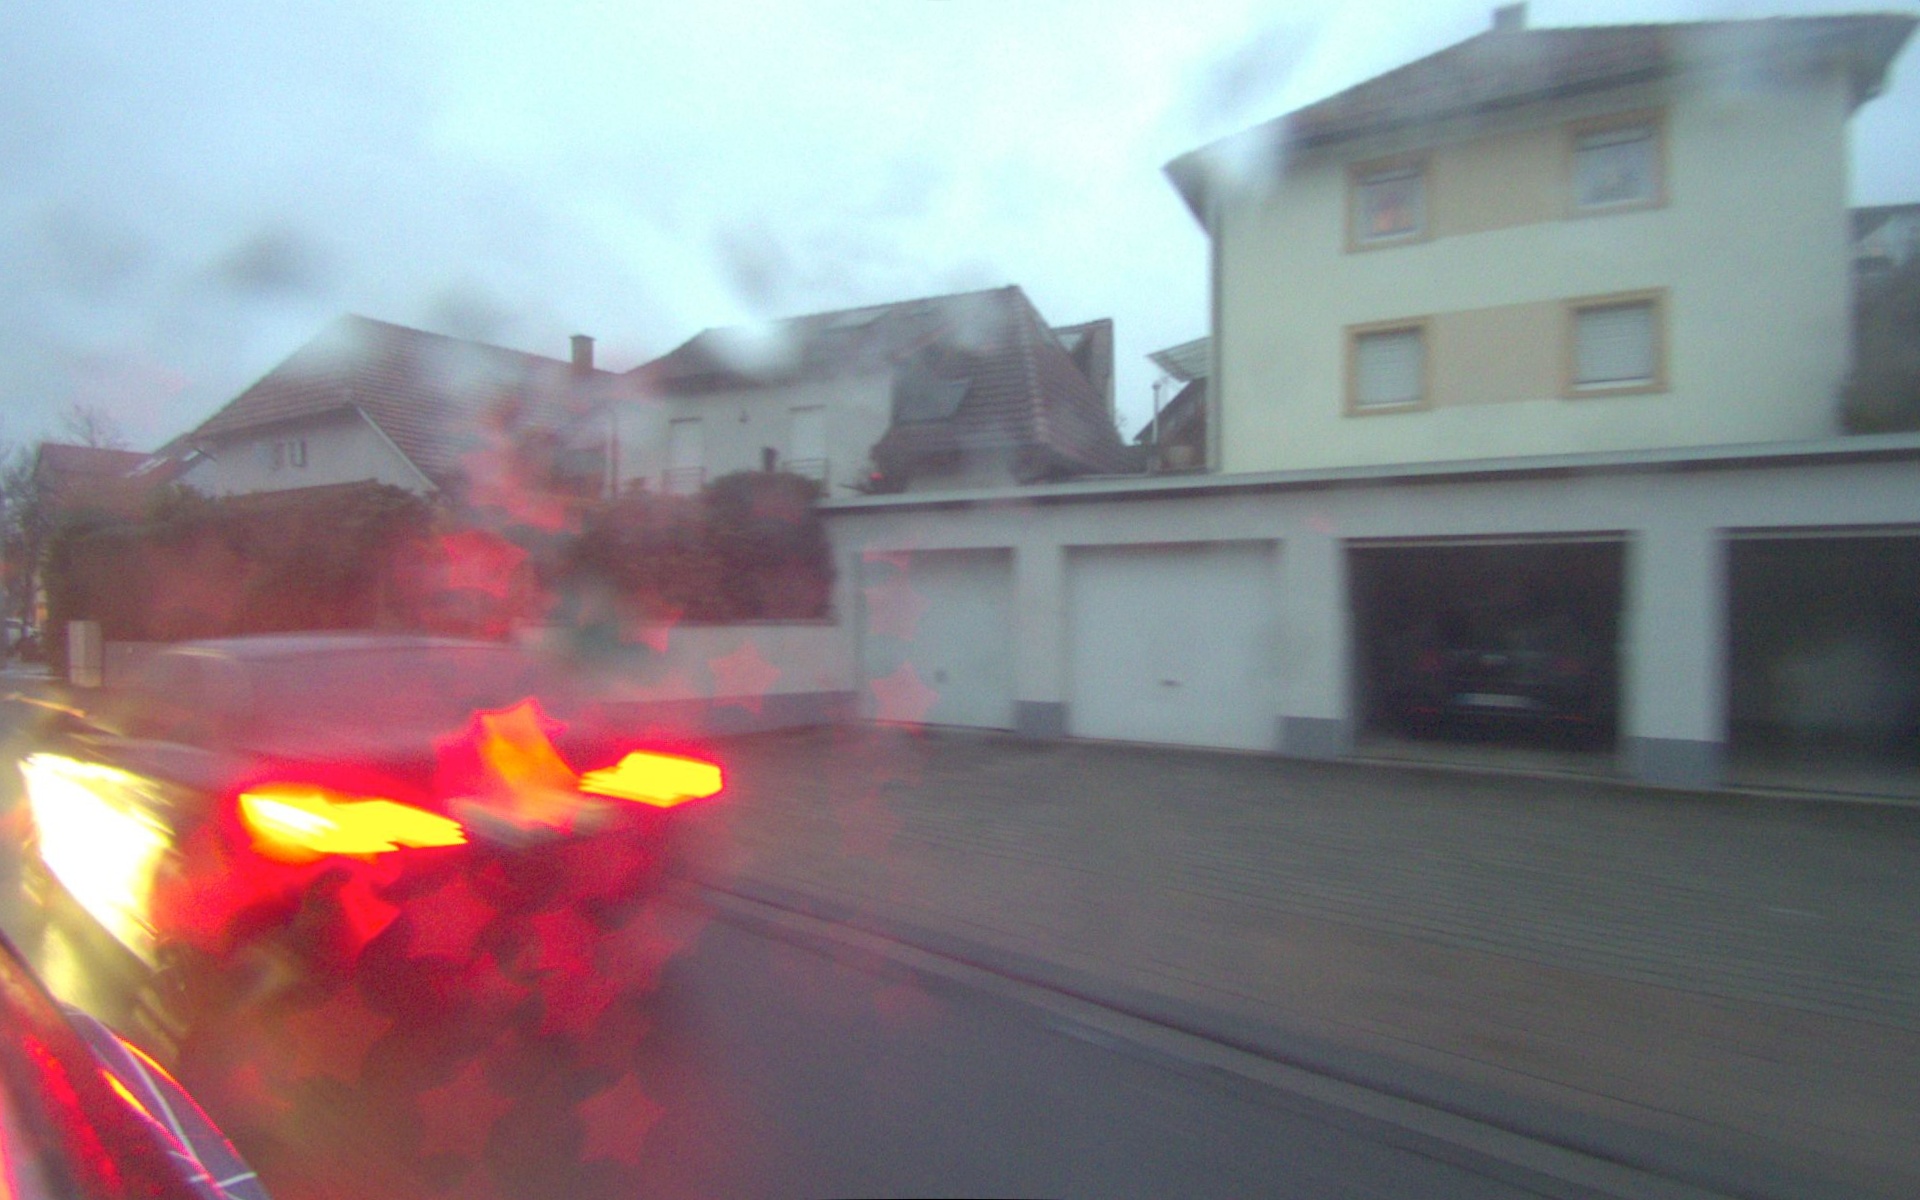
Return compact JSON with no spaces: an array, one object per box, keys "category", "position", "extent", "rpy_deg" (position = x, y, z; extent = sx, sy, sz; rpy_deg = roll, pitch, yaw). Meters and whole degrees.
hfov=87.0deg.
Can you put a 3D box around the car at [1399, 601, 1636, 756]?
[{"category":"car","position":[6.396,0.768,11.469],"extent":[1.994,1.413,3.955],"rpy_deg":[-1,-2,33]}]

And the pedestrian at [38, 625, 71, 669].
[{"category":"pedestrian","position":[-36.759,1.887,41.100],"extent":[0.955,1.748,0.871],"rpy_deg":[-2,-2,40]}]

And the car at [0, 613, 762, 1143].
[{"category":"car","position":[-3.081,0.799,4.821],"extent":[4.361,1.412,1.850],"rpy_deg":[-2,-2,39]}]

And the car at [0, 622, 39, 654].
[{"category":"car","position":[-45.213,1.795,46.940],"extent":[3.426,1.420,1.615],"rpy_deg":[-1,0,-31]}]
